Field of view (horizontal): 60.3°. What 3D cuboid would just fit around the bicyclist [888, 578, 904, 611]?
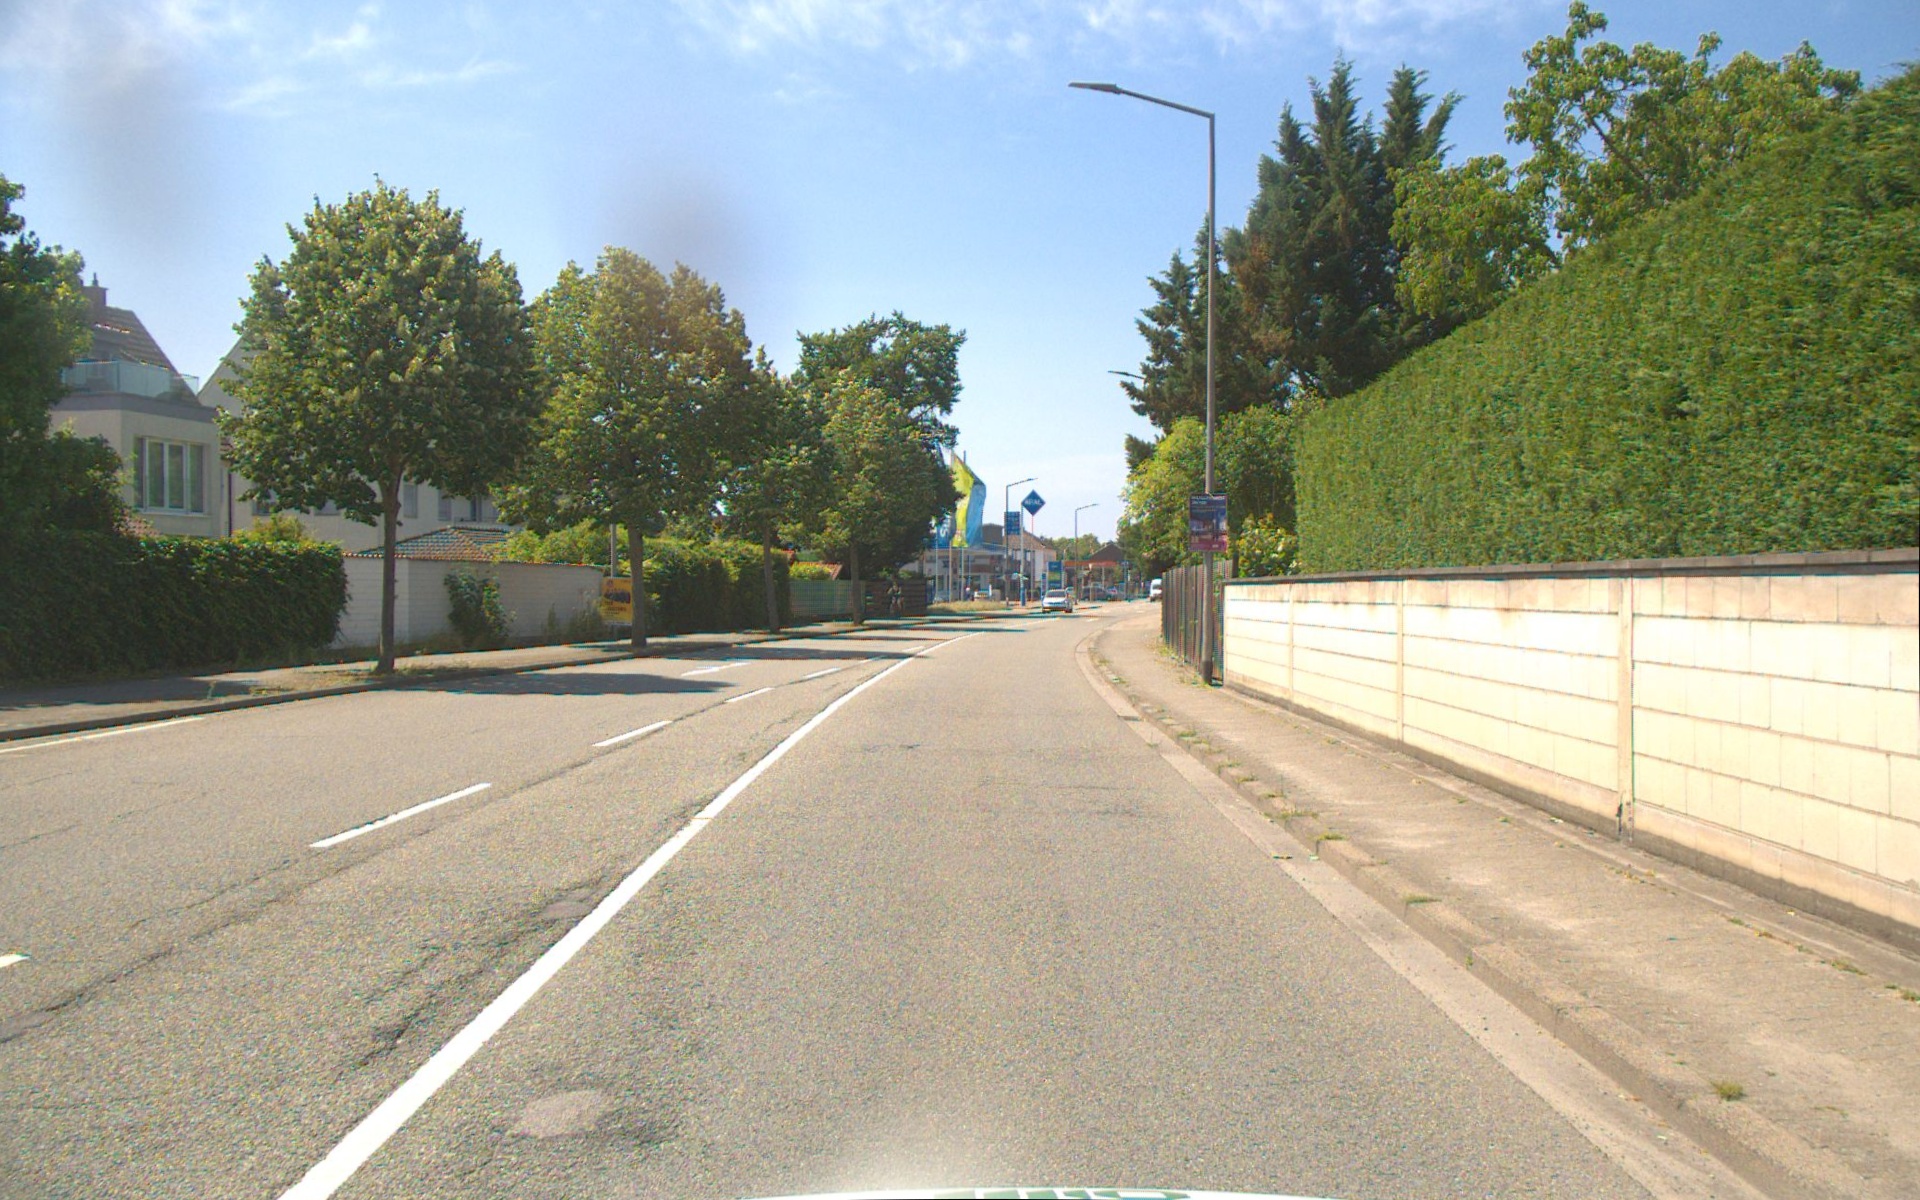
[{"bbox_3d":[-2.798,-0.242,72.353,0.615,1.433,0.677,0,0,7],"label":"bicyclist"}]

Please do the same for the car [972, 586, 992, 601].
[{"bbox_3d":[2.212,-0.657,166.210,1.582,1.445,3.715,-1,0,7],"label":"car"}]

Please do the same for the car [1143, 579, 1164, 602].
[{"bbox_3d":[23.191,-1.120,198.311,1.951,2.465,5.952,2,-1,11],"label":"car"}]

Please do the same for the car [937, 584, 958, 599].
[{"bbox_3d":[-1.232,-0.892,166.250,1.582,1.445,3.715,-1,0,7],"label":"car"}]

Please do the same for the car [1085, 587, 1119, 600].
[{"bbox_3d":[16.692,-0.757,194.364,3.902,1.534,1.556,0,0,8],"label":"car"}]

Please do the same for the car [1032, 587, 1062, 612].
[{"bbox_3d":[5.509,-0.052,104.198,1.577,1.508,3.710,1,0,7],"label":"car"}]

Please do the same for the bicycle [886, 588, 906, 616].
[{"bbox_3d":[-2.796,0.089,72.365,0.619,1.200,1.817,0,0,7],"label":"bicycle"}]
